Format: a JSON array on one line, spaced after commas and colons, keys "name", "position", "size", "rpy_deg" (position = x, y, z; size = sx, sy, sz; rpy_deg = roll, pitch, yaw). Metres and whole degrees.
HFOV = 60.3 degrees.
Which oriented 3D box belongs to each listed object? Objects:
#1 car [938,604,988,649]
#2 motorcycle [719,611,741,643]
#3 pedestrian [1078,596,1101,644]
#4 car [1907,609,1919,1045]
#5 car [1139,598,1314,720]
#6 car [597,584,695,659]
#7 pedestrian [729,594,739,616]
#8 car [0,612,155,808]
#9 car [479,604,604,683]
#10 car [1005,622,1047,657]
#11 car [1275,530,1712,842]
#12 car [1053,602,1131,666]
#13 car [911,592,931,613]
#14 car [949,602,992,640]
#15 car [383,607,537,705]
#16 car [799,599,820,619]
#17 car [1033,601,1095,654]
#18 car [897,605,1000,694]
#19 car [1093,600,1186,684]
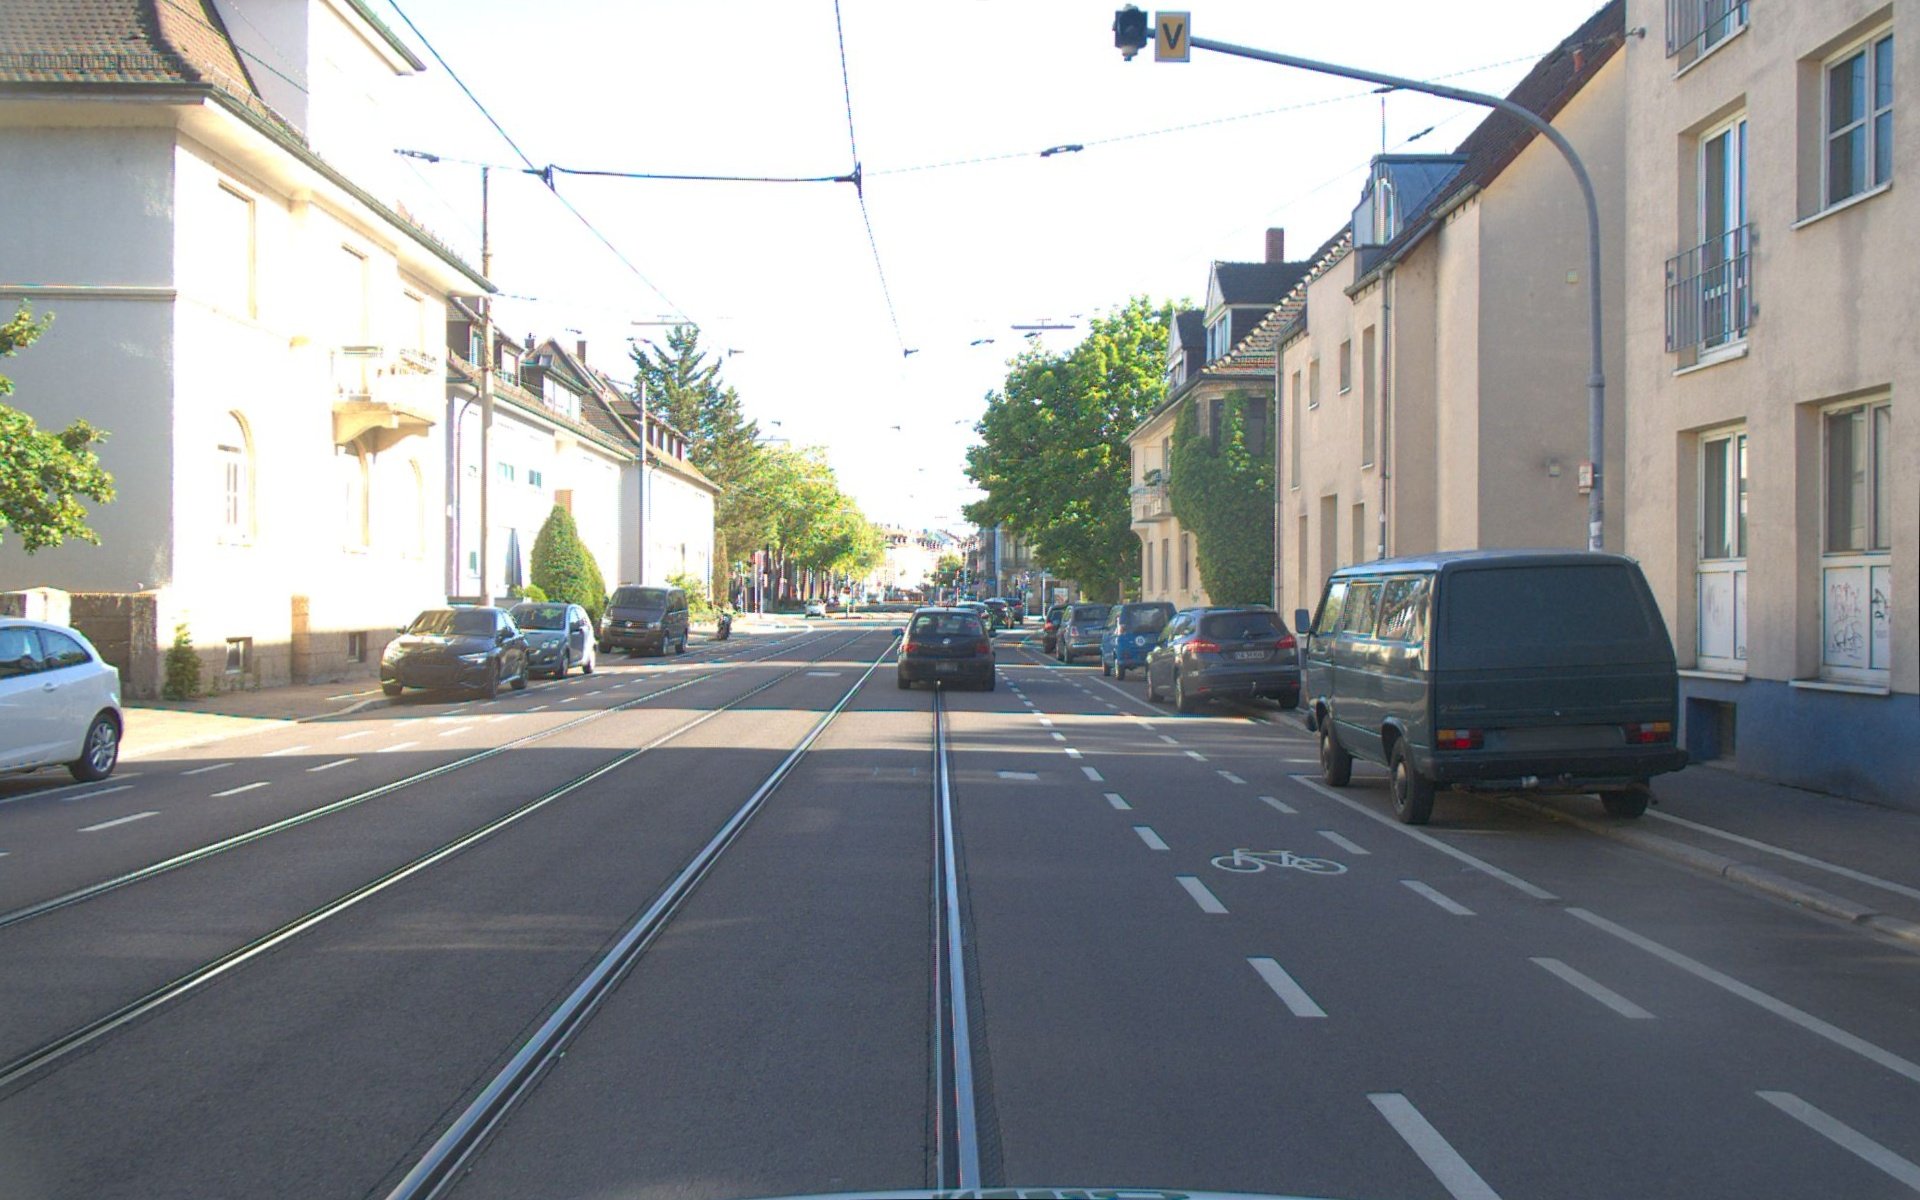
[{"name": "car", "position": [0.097, 0.861, 54.776], "size": [1.601, 1.396, 3.757], "rpy_deg": [0, 0, 0]}, {"name": "motorcycle", "position": [-8.909, 1.040, 64.182], "size": [0.525, 1.183, 2.171], "rpy_deg": [-2, 0, -1]}, {"name": "pedestrian", "position": [4.779, 0.730, 60.924], "size": [0.703, 1.717, 0.870], "rpy_deg": [-1, 0, -2]}, {"name": "car", "position": [4.243, 0.818, 3.786], "size": [1.643, 1.517, 4.171], "rpy_deg": [1, 0, -2]}, {"name": "car", "position": [3.911, 0.808, 24.991], "size": [1.709, 1.627, 4.431], "rpy_deg": [1, 0, -3]}, {"name": "car", "position": [-9.125, 0.592, 48.429], "size": [1.867, 2.049, 4.949], "rpy_deg": [1, 0, 0]}, {"name": "pedestrian", "position": [-18.381, 0.390, 134.506], "size": [0.600, 1.719, 0.729], "rpy_deg": [3, 0, -19]}, {"name": "car", "position": [-8.142, 0.865, 13.082], "size": [1.598, 1.483, 4.015], "rpy_deg": [-2, 0, -1]}, {"name": "car", "position": [-8.650, 0.863, 34.466], "size": [1.642, 1.503, 3.834], "rpy_deg": [1, 0, -1]}, {"name": "car", "position": [2.938, 1.745, 74.383], "size": [1.538, 1.334, 3.645], "rpy_deg": [0, 2, -3]}, {"name": "car", "position": [3.969, 0.564, 13.214], "size": [1.867, 2.022, 4.561], "rpy_deg": [1, 0, -2]}, {"name": "car", "position": [3.408, 0.858, 43.324], "size": [1.569, 1.552, 3.547], "rpy_deg": [1, 0, -3]}, {"name": "car", "position": [-3.725, 0.257, 157.265], "size": [1.751, 1.892, 3.998], "rpy_deg": [2, 0, -3]}, {"name": "car", "position": [0.414, 0.848, 67.962], "size": [1.704, 1.466, 3.809], "rpy_deg": [0, 0, -1]}, {"name": "car", "position": [-8.366, 0.882, 27.988], "size": [1.630, 1.503, 4.246], "rpy_deg": [0, 0, -5]}, {"name": "car", "position": [-11.575, 0.697, 127.240], "size": [1.545, 1.503, 3.436], "rpy_deg": [-1, 0, -6]}, {"name": "car", "position": [3.235, 0.840, 51.914], "size": [1.632, 1.591, 3.770], "rpy_deg": [1, 0, -1]}, {"name": "car", "position": [-0.212, 0.833, 29.531], "size": [1.681, 1.427, 4.005], "rpy_deg": [1, 0, -1]}, {"name": "car", "position": [3.725, 0.836, 34.715], "size": [1.428, 1.627, 3.292], "rpy_deg": [1, 0, -3]}]
